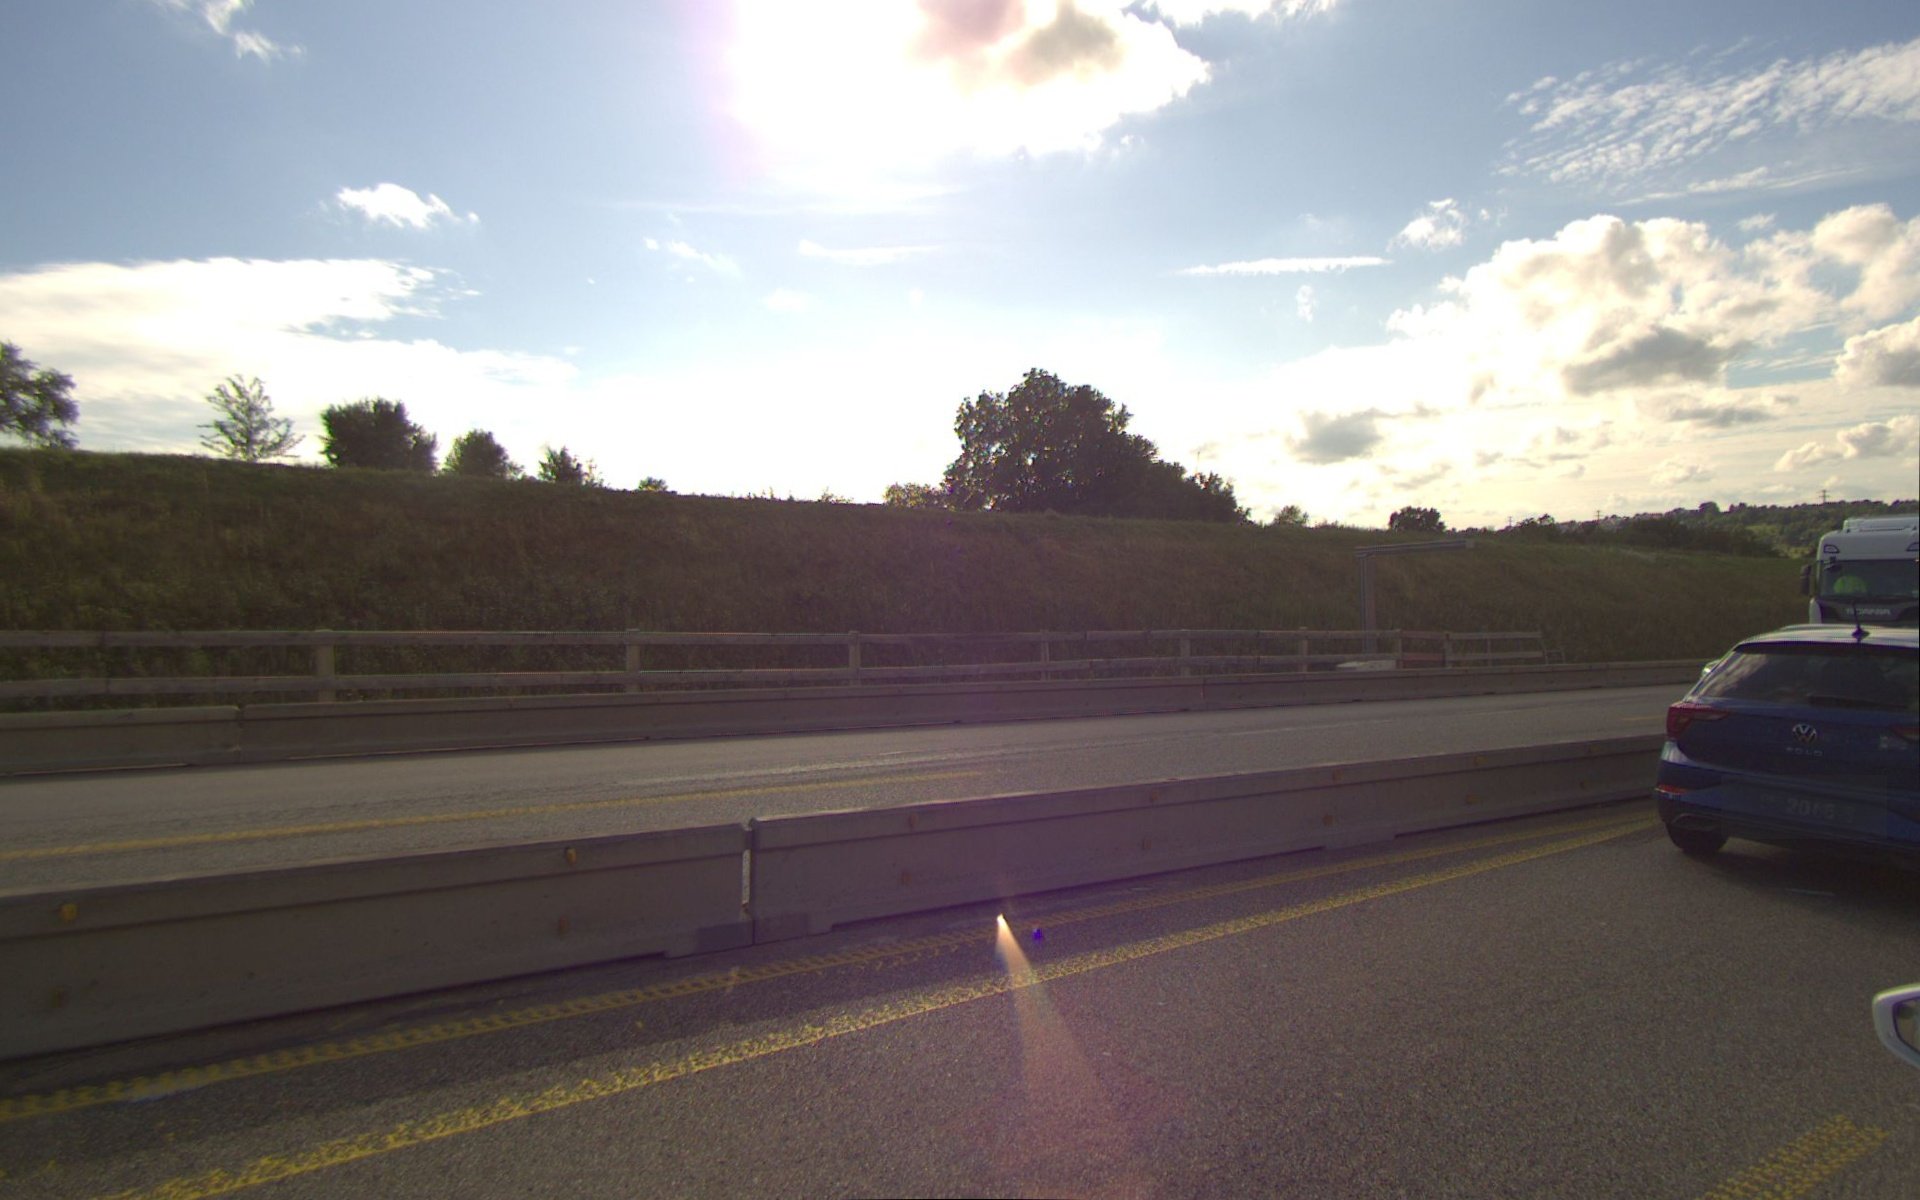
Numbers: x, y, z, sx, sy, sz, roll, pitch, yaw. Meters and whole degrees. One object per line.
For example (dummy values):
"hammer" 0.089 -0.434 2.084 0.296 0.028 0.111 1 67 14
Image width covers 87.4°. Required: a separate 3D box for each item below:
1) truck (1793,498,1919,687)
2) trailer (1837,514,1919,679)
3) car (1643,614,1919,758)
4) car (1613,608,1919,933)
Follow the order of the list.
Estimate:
"truck" 23.310 -0.121 24.748 5.717 4.209 2.600 1 0 -32
"trailer" 28.996 0.033 28.307 13.719 4.006 2.600 1 0 -32
"car" 11.211 1.073 13.504 3.953 1.624 1.812 2 0 -30
"car" 6.050 0.861 6.271 3.953 1.528 1.706 1 0 -30
